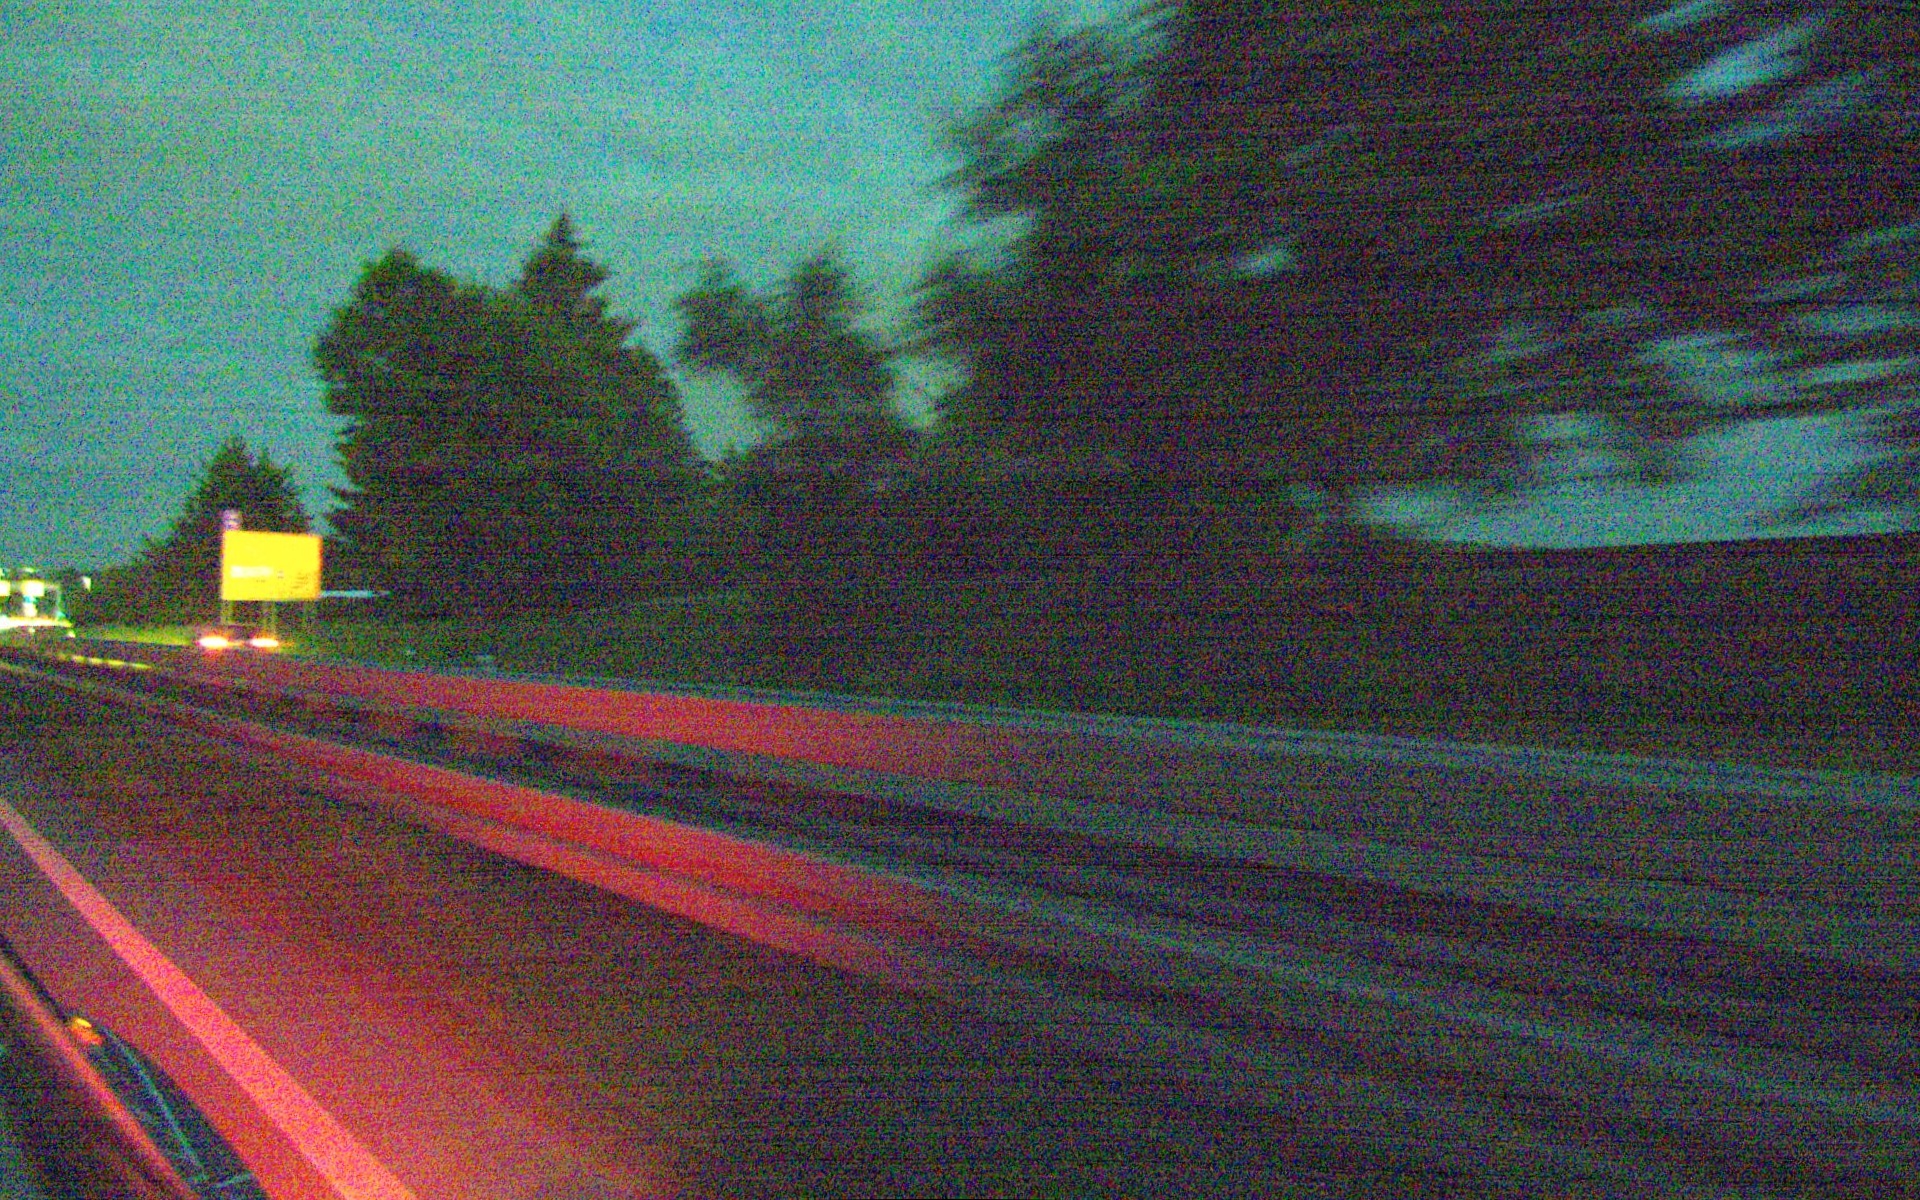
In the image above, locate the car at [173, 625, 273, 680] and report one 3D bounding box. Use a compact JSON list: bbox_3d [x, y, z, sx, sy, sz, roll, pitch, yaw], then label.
[{"bbox_3d":[-23.294,1.603,31.946,4.164,1.599,1.665,-1,0,41],"label":"car"}]
